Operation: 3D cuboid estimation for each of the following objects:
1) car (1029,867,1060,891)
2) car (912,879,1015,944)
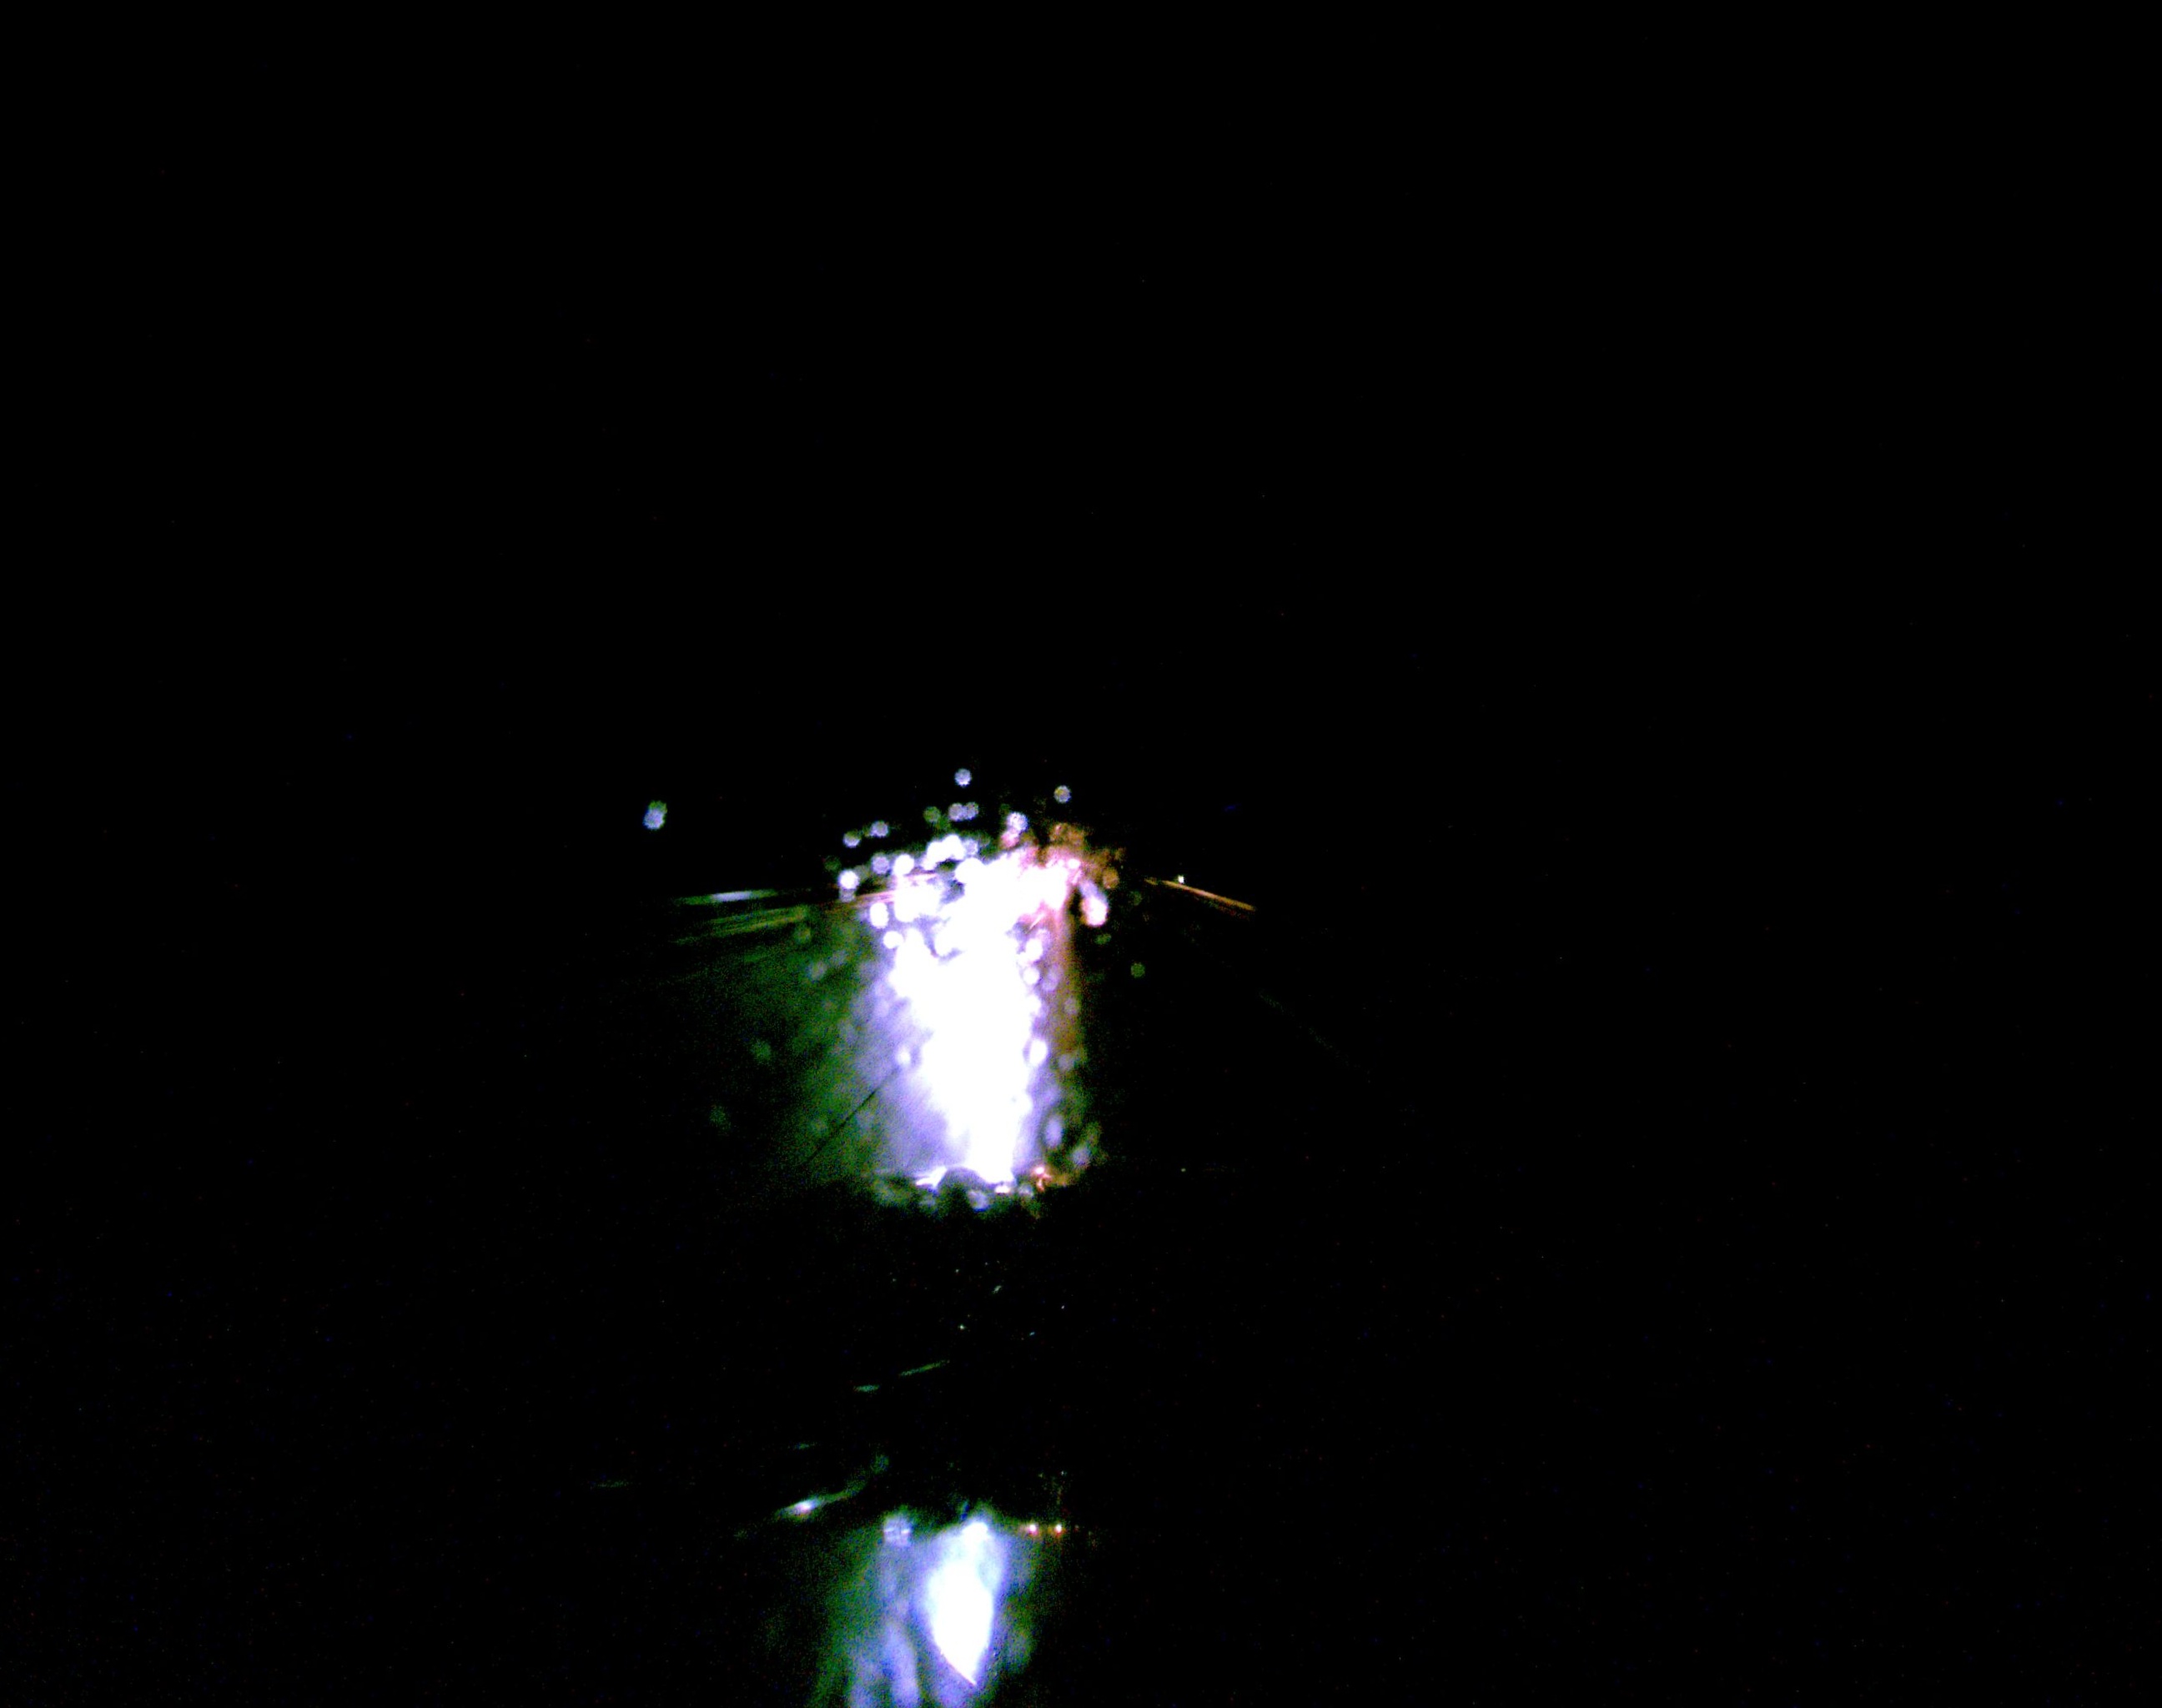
[{"bbox_3d":[-2.425,1.637,55.128,1.828,1.545,4.646,0,-1,1],"label":"car"},{"bbox_3d":[-2.727,1.315,19.809,1.799,1.339,4.189,0,-1,1],"label":"car"}]
